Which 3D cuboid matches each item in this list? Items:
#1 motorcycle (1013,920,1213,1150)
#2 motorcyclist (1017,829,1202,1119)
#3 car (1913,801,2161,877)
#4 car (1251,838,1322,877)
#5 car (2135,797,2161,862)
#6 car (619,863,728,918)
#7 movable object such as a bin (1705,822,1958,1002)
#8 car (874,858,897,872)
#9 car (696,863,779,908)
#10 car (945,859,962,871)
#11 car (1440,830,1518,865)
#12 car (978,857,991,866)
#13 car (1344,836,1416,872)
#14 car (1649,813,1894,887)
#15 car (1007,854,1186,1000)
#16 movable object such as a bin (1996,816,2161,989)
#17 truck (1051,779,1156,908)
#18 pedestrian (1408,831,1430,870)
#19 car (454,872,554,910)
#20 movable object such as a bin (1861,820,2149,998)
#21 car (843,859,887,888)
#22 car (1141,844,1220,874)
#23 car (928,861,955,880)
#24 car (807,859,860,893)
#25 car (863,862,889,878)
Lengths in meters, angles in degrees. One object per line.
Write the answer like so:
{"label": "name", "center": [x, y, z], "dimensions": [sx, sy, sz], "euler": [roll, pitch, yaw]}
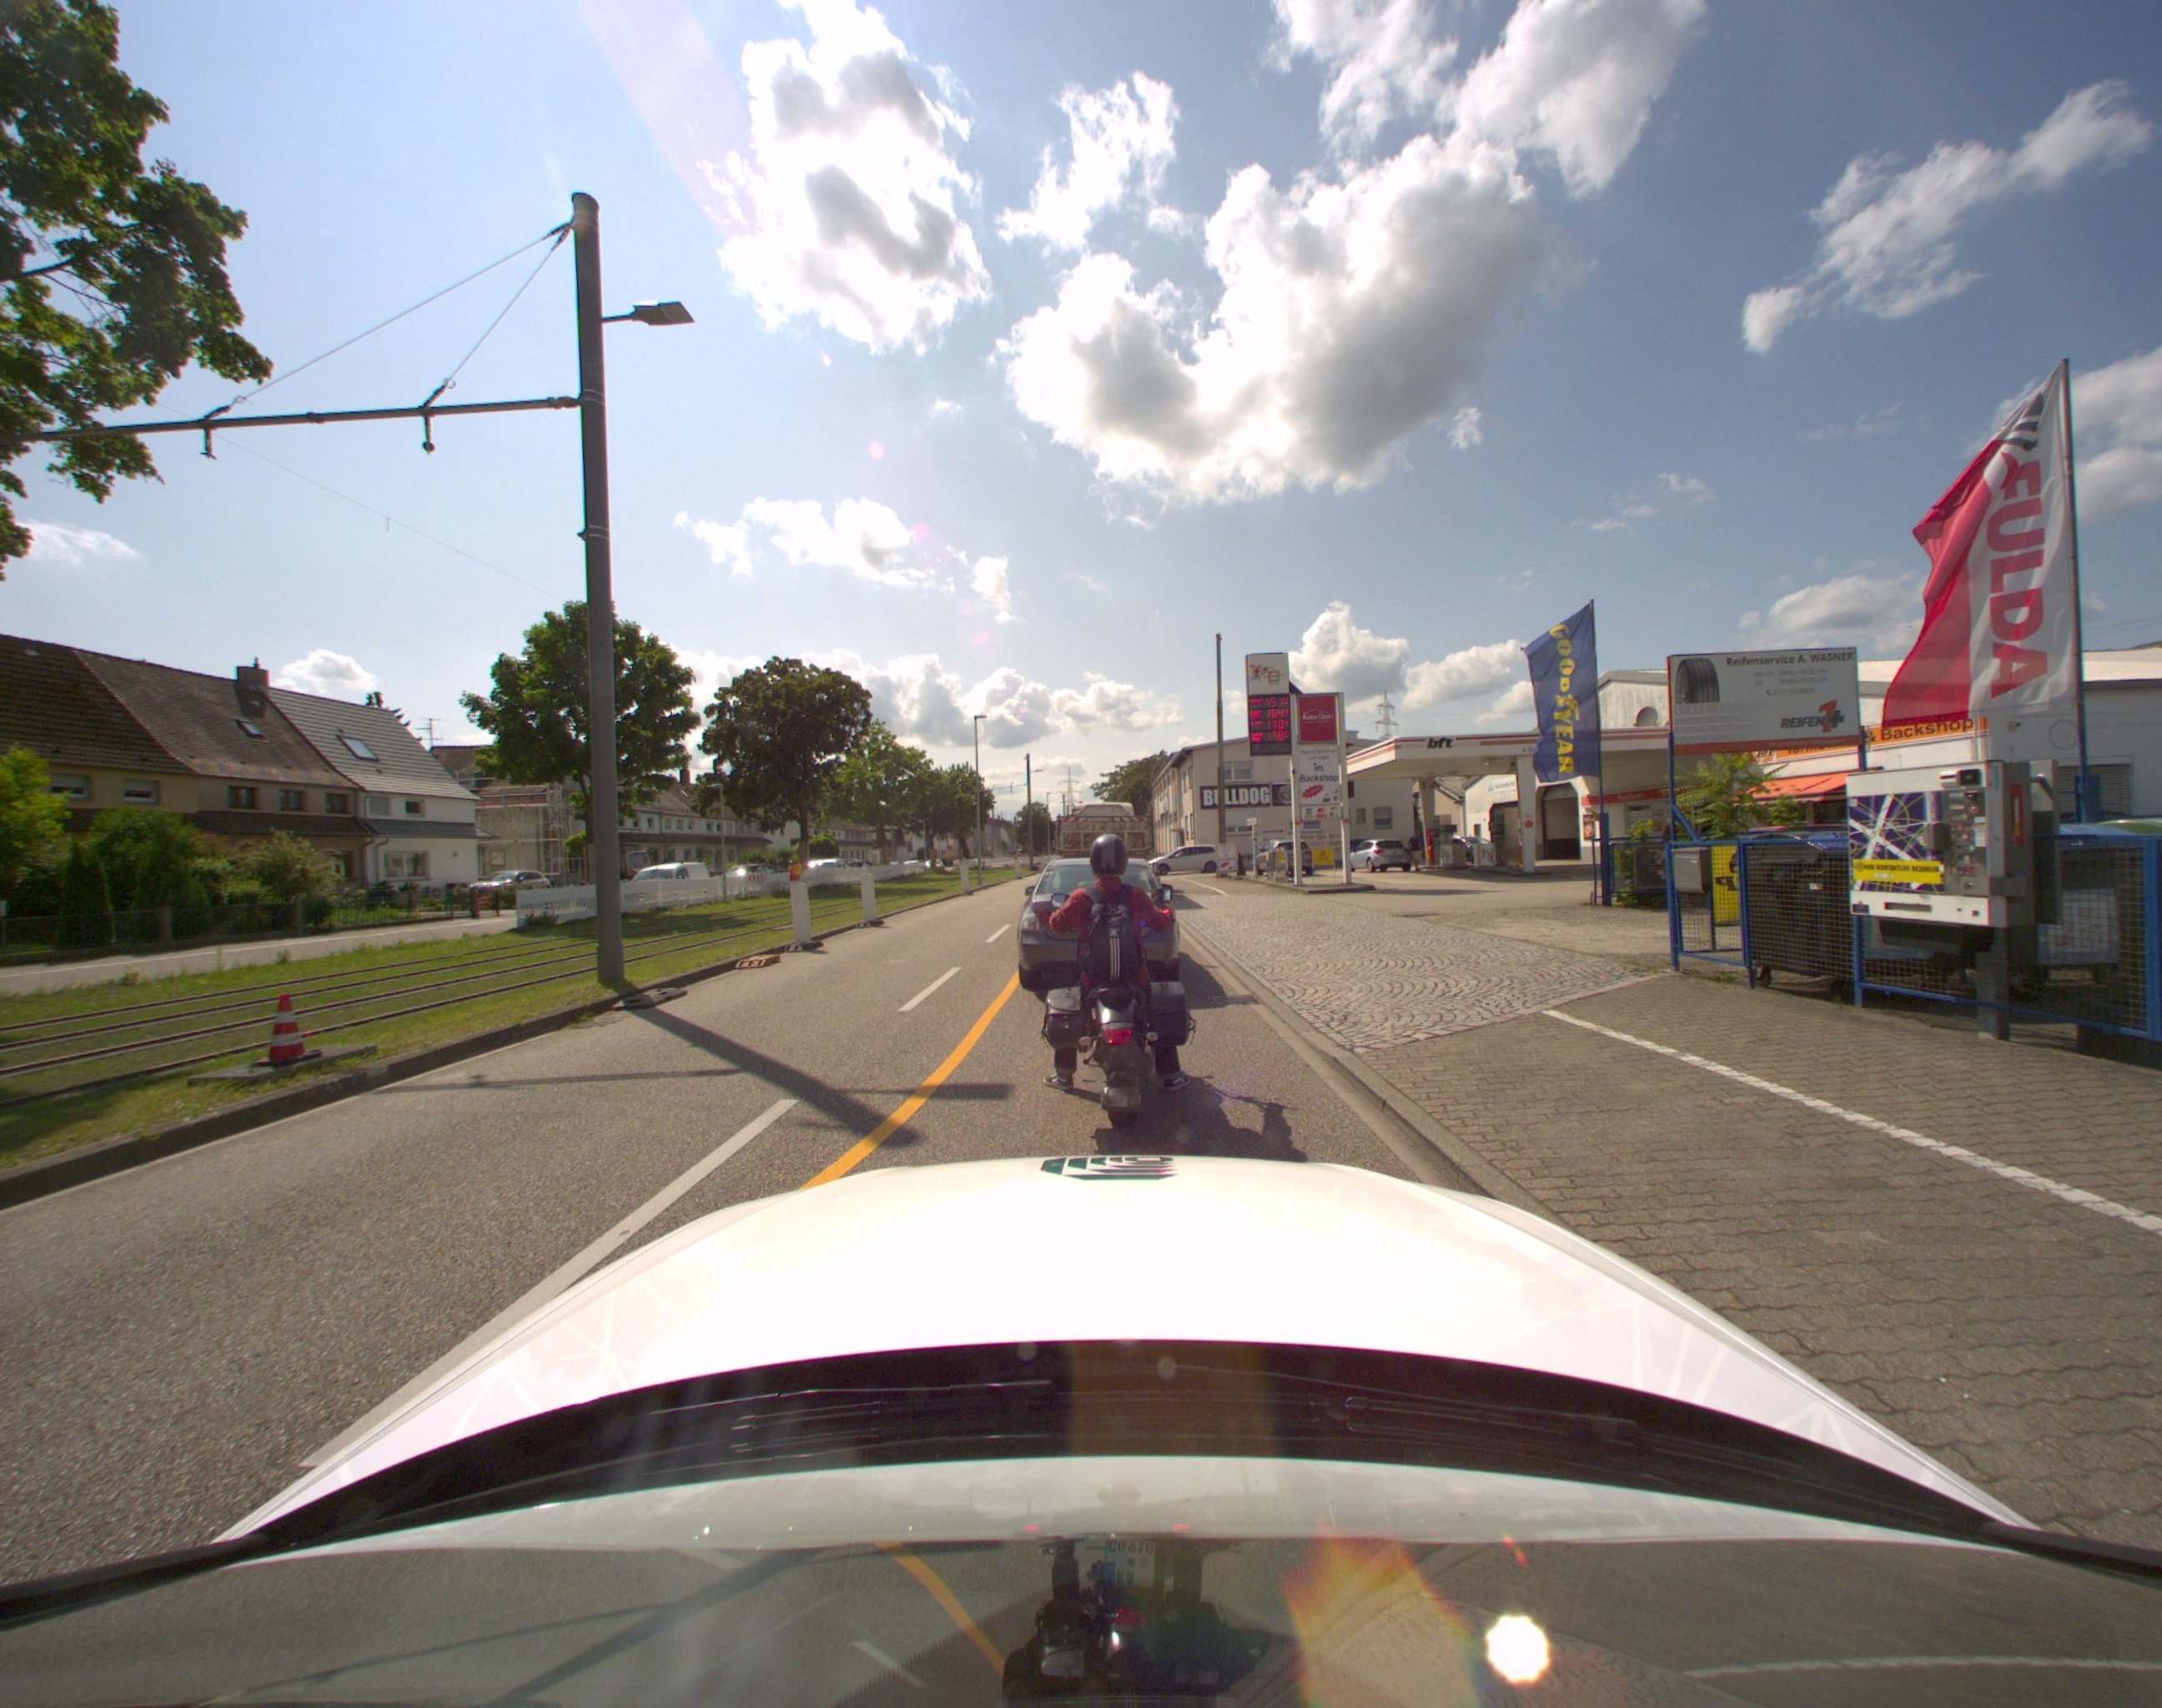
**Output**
{"label": "motorcycle", "center": [0.203, 1.024, 5.447], "dimensions": [0.975, 0.897, 2.654], "euler": [-2, 0, 2]}
{"label": "motorcyclist", "center": [0.178, 0.676, 5.143], "dimensions": [0.975, 1.602, 1.088], "euler": [-2, 0, 1]}
{"label": "car", "center": [21.520, -0.342, 18.168], "dimensions": [4.180, 1.463, 1.587], "euler": [-2, 0, 2]}
{"label": "car", "center": [9.113, 0.148, 36.455], "dimensions": [1.665, 1.562, 4.235], "euler": [-2, 0, -6]}
{"label": "car", "center": [26.524, -0.639, 18.005], "dimensions": [4.180, 1.463, 1.587], "euler": [-2, 0, 2]}
{"label": "car", "center": [-15.434, 1.314, 31.157], "dimensions": [1.769, 1.821, 4.366], "euler": [-2, 0, 2]}
{"label": "movable object such as a bin", "center": [6.687, 0.477, 7.361], "dimensions": [1.104, 1.436, 1.244], "euler": [-2, 0, 1]}
{"label": "car", "center": [-25.167, 1.396, 105.204], "dimensions": [1.769, 1.722, 4.130], "euler": [-2, 0, 2]}
{"label": "car", "center": [-15.413, 1.348, 36.800], "dimensions": [1.769, 1.774, 4.230], "euler": [-2, 0, 2]}
{"label": "car", "center": [-19.641, 1.628, 125.918], "dimensions": [1.769, 1.722, 4.130], "euler": [-2, 0, 2]}
{"label": "car", "center": [18.674, -0.303, 38.395], "dimensions": [1.800, 1.503, 3.833], "euler": [-2, 0, 0]}
{"label": "car", "center": [-19.105, 1.521, 161.355], "dimensions": [1.769, 1.722, 4.252], "euler": [-2, 0, 2]}
{"label": "car", "center": [13.473, -0.011, 36.922], "dimensions": [1.800, 1.503, 3.832], "euler": [-2, 0, -1]}
{"label": "car", "center": [15.771, -0.090, 18.760], "dimensions": [4.180, 1.463, 1.587], "euler": [-2, 0, 2]}
{"label": "car", "center": [0.220, 0.747, 10.310], "dimensions": [1.816, 1.452, 4.002], "euler": [0, 0, 2]}
{"label": "movable object such as a bin", "center": [9.484, 0.373, 7.133], "dimensions": [1.397, 1.396, 1.338], "euler": [-2, 0, 1]}
{"label": "truck", "center": [0.724, -0.289, 25.502], "dimensions": [2.628, 3.296, 8.059], "euler": [-2, 0, 2]}
{"label": "pedestrian", "center": [14.649, -0.134, 35.321], "dimensions": [0.701, 1.656, 0.551], "euler": [-2, 0, 37]}
{"label": "car", "center": [-27.440, 1.725, 38.895], "dimensions": [1.769, 1.519, 4.002], "euler": [-2, 0, 2]}
{"label": "movable object such as a bin", "center": [8.082, 0.444, 7.221], "dimensions": [1.104, 1.396, 1.244], "euler": [-2, 0, 1]}
{"label": "car", "center": [-14.809, 1.333, 56.040], "dimensions": [1.769, 1.805, 4.130], "euler": [-2, 0, 2]}
{"label": "car", "center": [5.727, 0.286, 47.059], "dimensions": [4.225, 1.543, 1.669], "euler": [-2, 0, -7]}
{"label": "car", "center": [-13.734, 1.627, 80.456], "dimensions": [1.769, 1.722, 4.130], "euler": [-2, 0, 2]}
{"label": "car", "center": [-15.068, 1.326, 49.862], "dimensions": [1.769, 1.867, 4.130], "euler": [-2, 0, 2]}
{"label": "car", "center": [-24.395, 1.834, 97.043], "dimensions": [1.769, 1.722, 4.130], "euler": [-2, 0, 2]}
